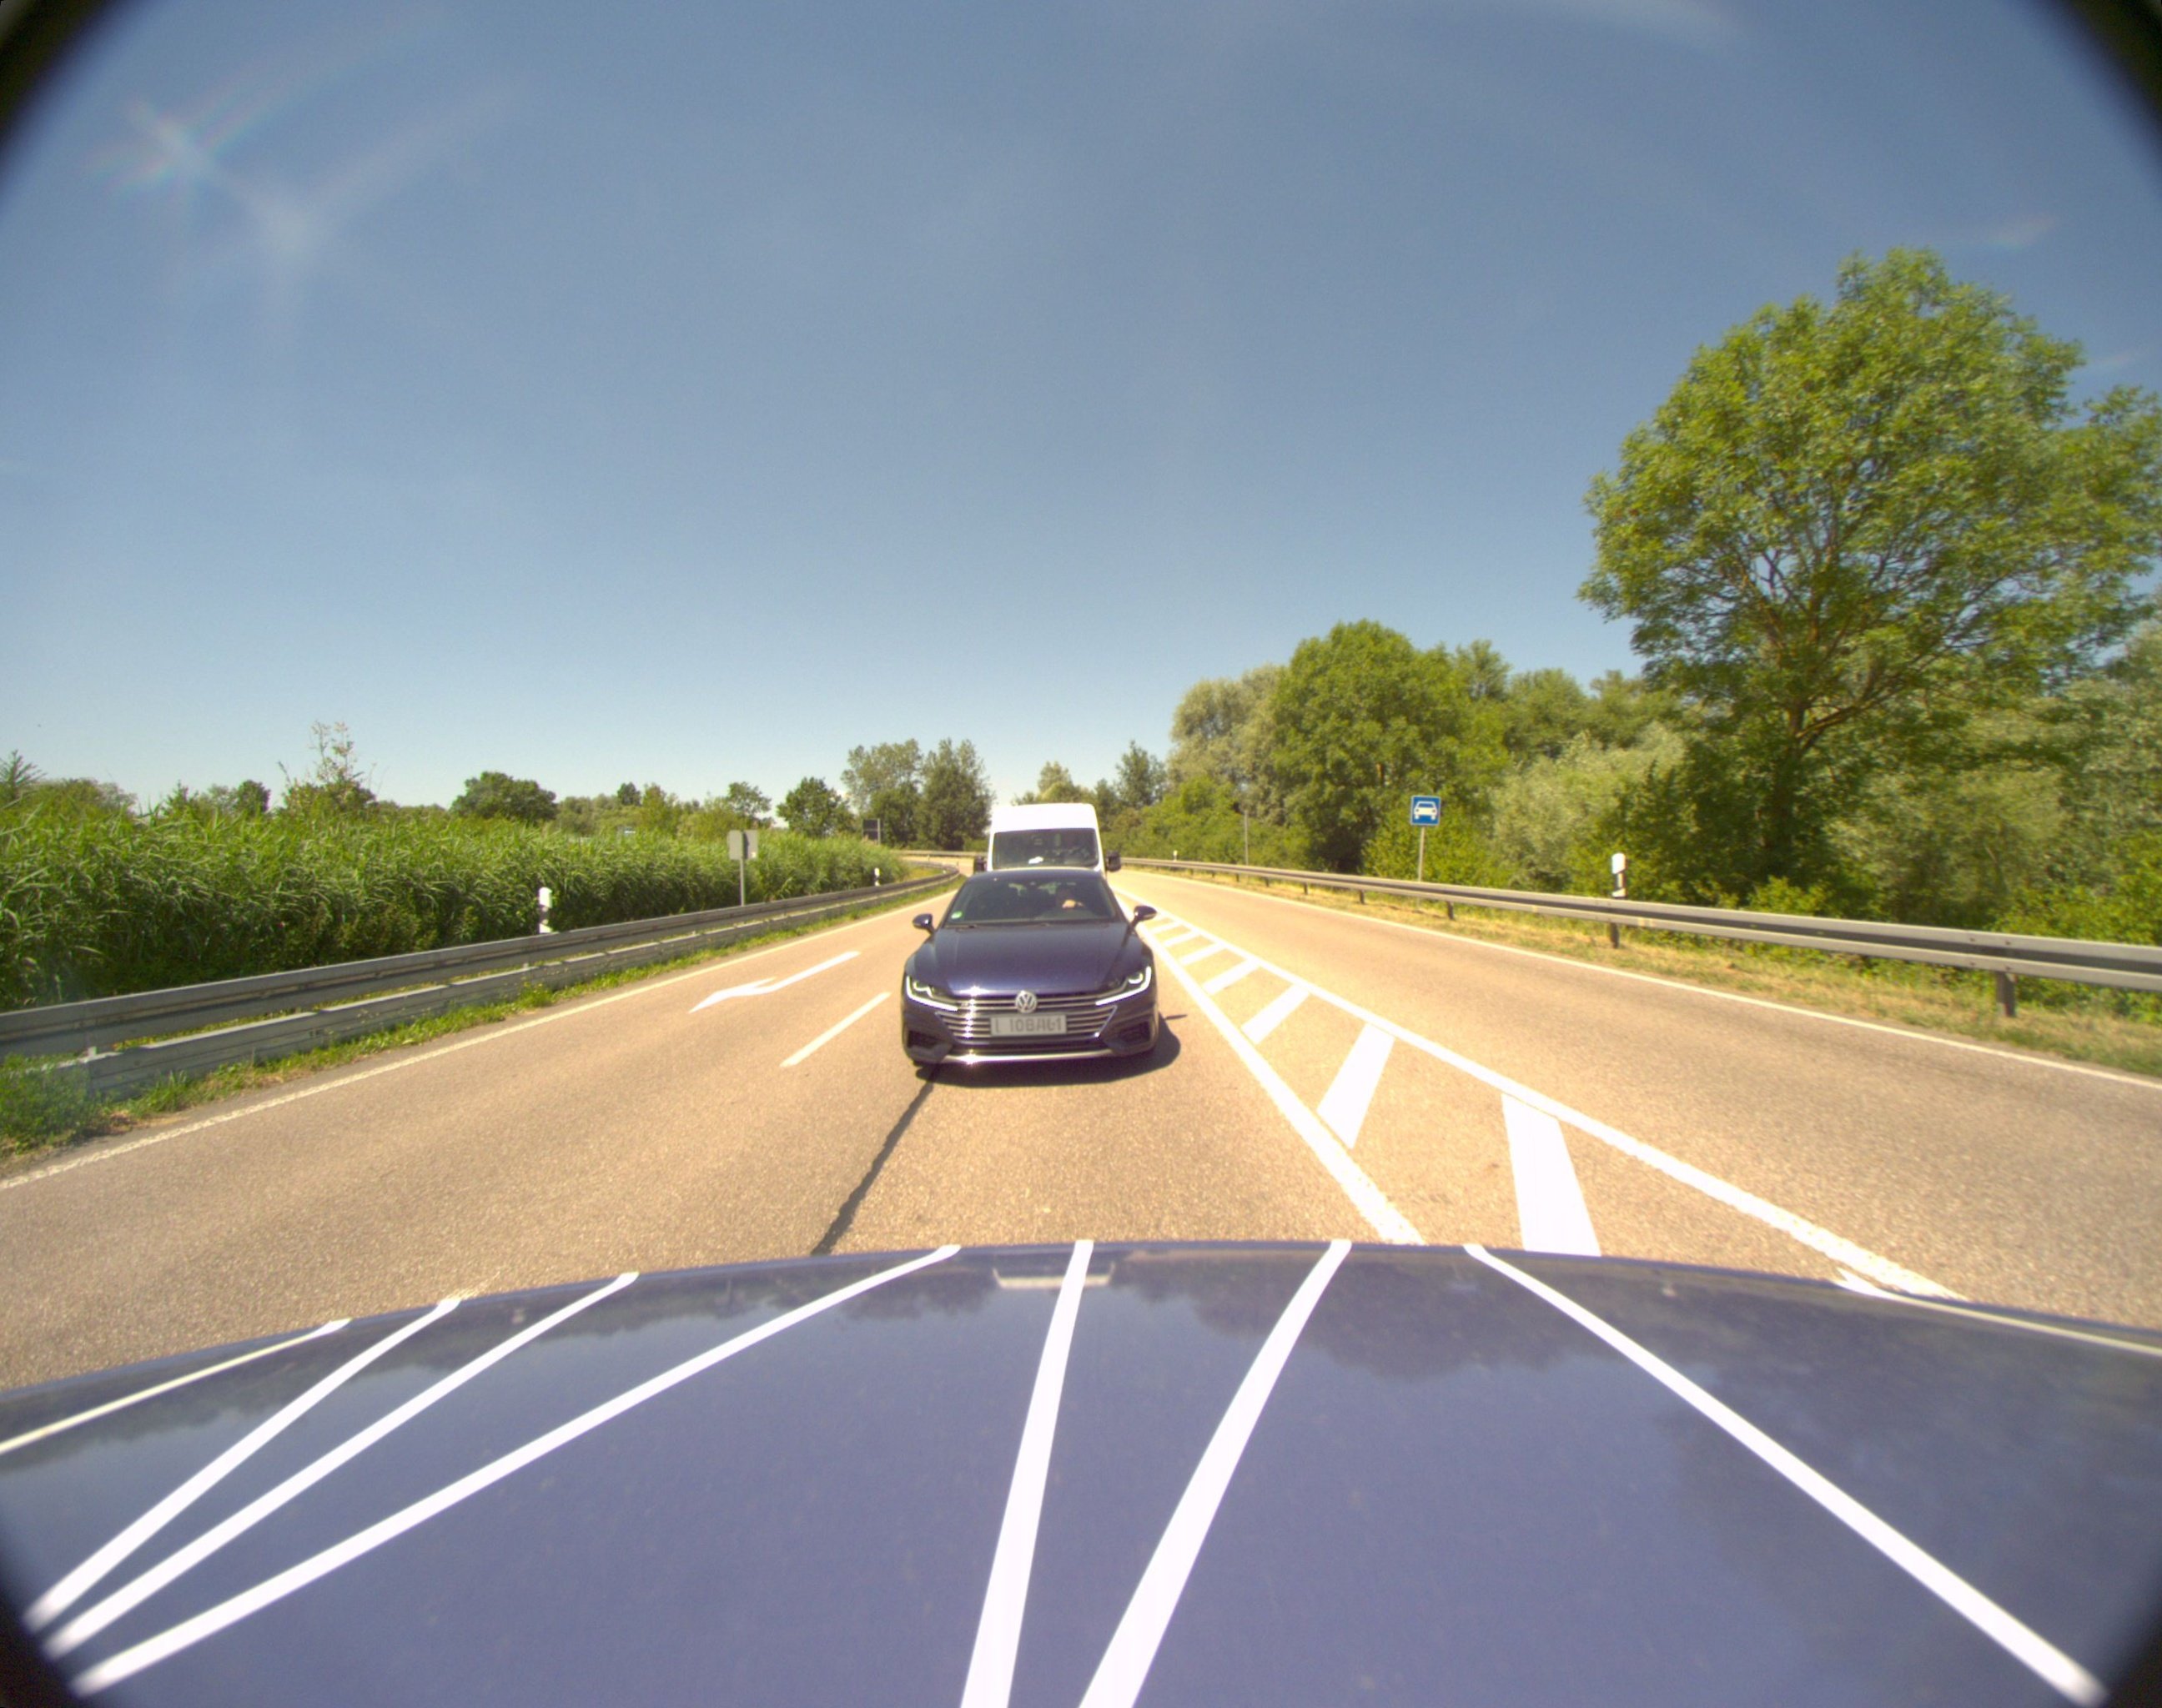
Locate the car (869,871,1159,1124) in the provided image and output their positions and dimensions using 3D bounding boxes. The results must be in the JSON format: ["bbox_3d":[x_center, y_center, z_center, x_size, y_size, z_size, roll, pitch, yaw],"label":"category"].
[{"bbox_3d":[-0.408,0.948,6.763,1.761,1.401,3.999,-2,1,0],"label":"car"}]

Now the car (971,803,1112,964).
[{"bbox_3d":[-0.590,0.419,14.486,2.059,2.376,5.826,-2,1,0],"label":"car"}]
